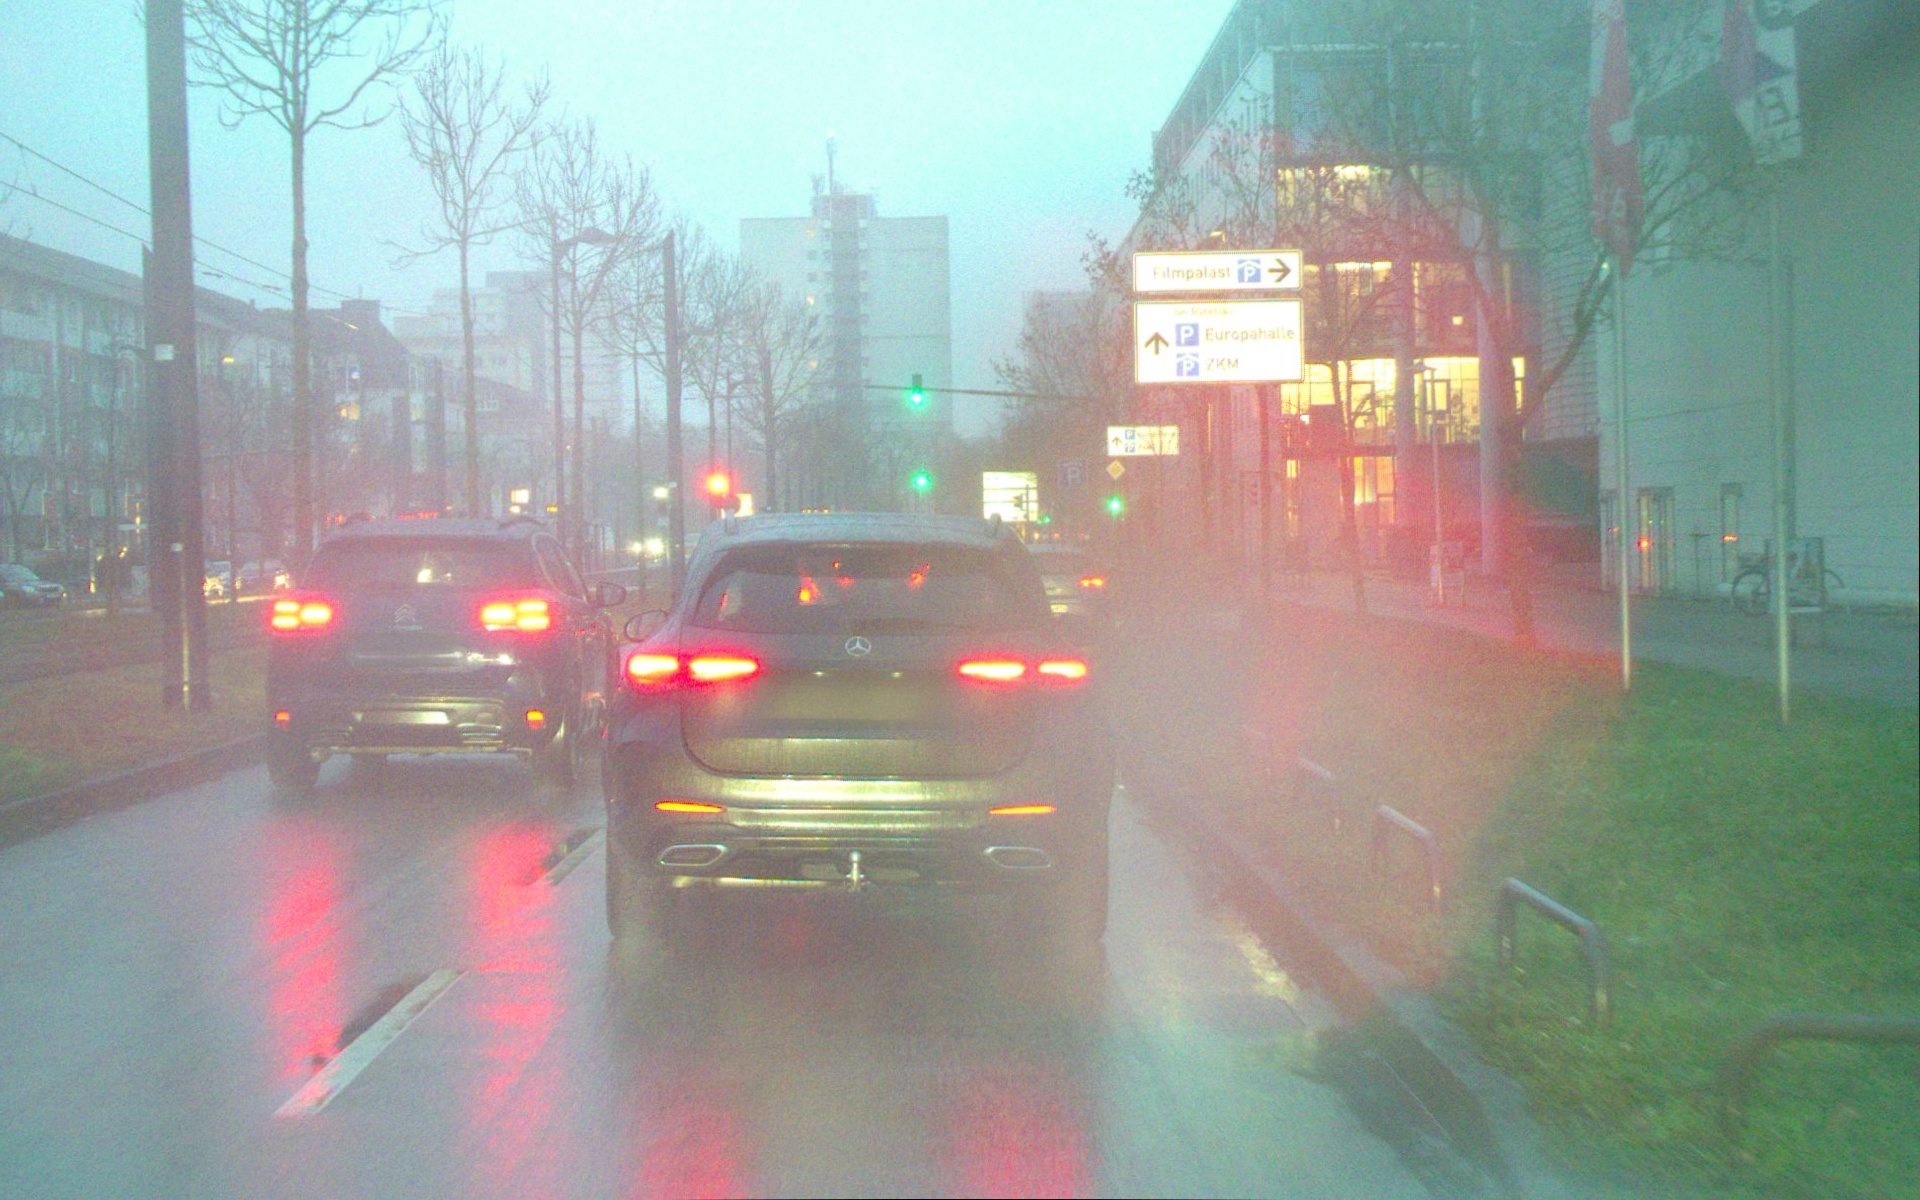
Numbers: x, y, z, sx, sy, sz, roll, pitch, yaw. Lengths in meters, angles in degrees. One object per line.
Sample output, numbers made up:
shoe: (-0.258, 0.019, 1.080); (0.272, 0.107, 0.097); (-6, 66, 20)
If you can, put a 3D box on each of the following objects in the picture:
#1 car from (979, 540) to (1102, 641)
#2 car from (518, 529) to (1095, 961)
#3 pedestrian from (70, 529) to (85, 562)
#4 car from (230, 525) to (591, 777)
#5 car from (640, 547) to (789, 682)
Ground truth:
car: (1.311, -0.181, 54.843); (1.867, 1.537, 3.610); (1, 1, 2)
car: (-0.564, 0.484, 13.856); (1.993, 1.478, 3.700); (1, 1, -1)
pedestrian: (-31.396, -1.941, 122.308); (0.345, 1.180, 0.434); (0, 1, -41)
car: (-3.412, 0.262, 22.013); (1.817, 1.445, 4.001); (1, 1, -3)
car: (-3.107, 0.158, 44.064); (1.689, 1.629, 3.474); (1, 1, -1)
